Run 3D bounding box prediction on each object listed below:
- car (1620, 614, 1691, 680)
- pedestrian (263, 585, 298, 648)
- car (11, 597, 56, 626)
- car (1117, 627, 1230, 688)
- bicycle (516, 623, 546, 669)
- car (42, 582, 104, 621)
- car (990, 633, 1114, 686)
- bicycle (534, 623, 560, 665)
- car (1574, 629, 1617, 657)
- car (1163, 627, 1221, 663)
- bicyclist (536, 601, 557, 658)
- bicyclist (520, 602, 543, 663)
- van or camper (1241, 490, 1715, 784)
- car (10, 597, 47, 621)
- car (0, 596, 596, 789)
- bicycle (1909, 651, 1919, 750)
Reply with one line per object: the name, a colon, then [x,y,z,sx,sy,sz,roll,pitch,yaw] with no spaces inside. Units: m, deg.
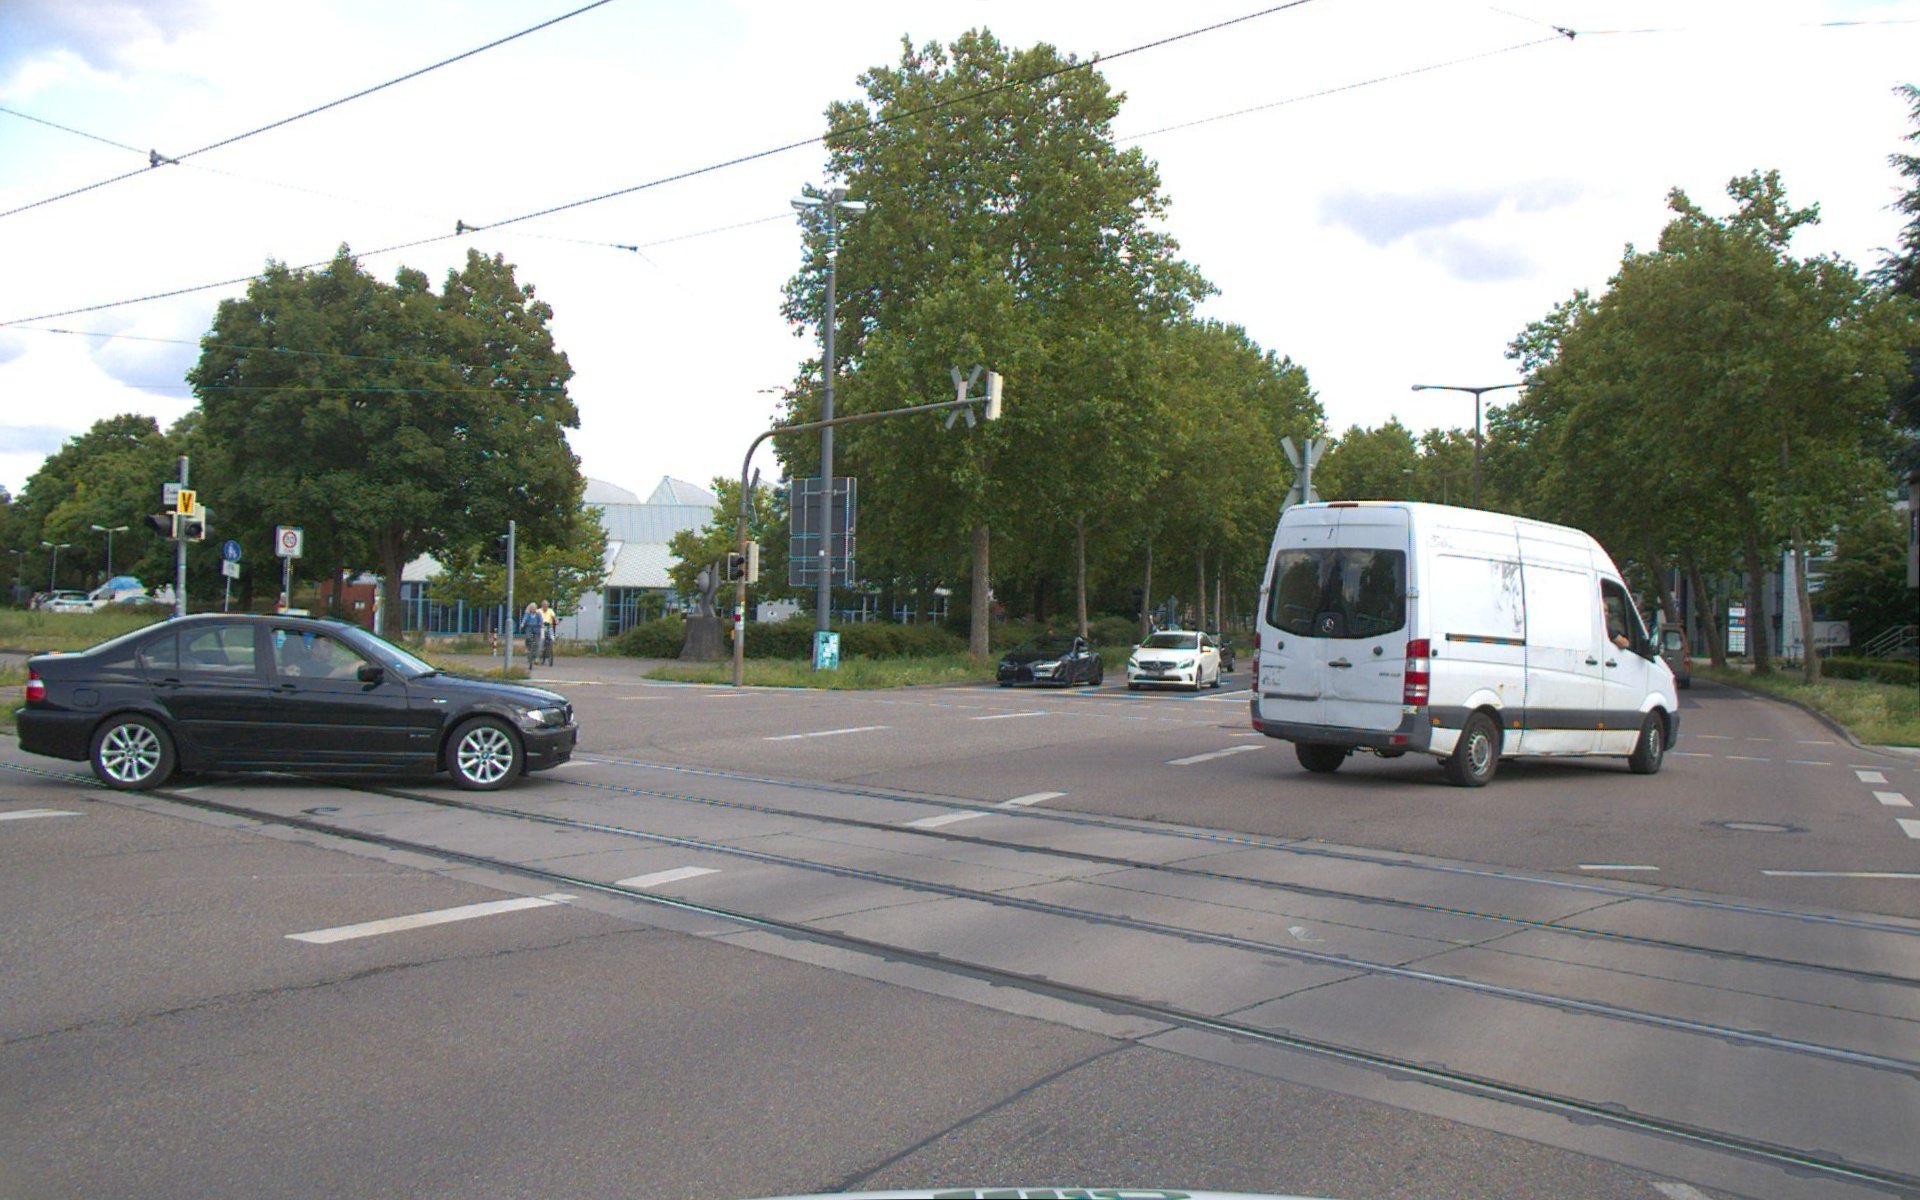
car: [20.758,1.381,49.390,1.840,1.831,4.369,1,-1,23]
pedestrian: [-18.487,0.443,45.015,0.622,1.673,0.613,1,1,16]
car: [-56.679,0.693,101.149,1.976,1.668,4.338,2,-1,-34]
car: [5.364,1.398,41.109,1.788,1.388,4.137,1,-1,22]
bicycle: [-11.256,1.199,43.405,0.550,1.150,1.377,3,-2,-7]
car: [-39.988,0.034,74.526,1.976,1.668,4.338,2,-1,-34]
car: [2.379,1.476,41.788,1.604,1.212,3.700,1,-1,30]
bicycle: [-11.780,1.255,47.164,0.550,1.150,1.377,1,-1,-8]
car: [41.002,2.780,106.793,1.951,1.601,4.004,1,1,12]
car: [8.387,1.606,59.573,1.600,1.212,3.710,1,-1,15]
bicyclist: [-11.781,0.842,47.133,0.476,1.581,0.555,2,-2,-8]
bicyclist: [-11.252,0.848,43.424,0.476,1.581,0.555,2,-2,-8]
van or camper: [5.582,0.386,17.226,5.985,2.568,1.952,2,-1,-42]
car: [-67.016,0.649,118.956,1.976,1.668,4.338,2,-1,-34]
car: [-5.395,0.785,14.058,4.374,1.456,1.807,2,-2,-11]
bicycle: [13.278,1.327,21.184,1.911,1.257,0.539,1,1,34]
